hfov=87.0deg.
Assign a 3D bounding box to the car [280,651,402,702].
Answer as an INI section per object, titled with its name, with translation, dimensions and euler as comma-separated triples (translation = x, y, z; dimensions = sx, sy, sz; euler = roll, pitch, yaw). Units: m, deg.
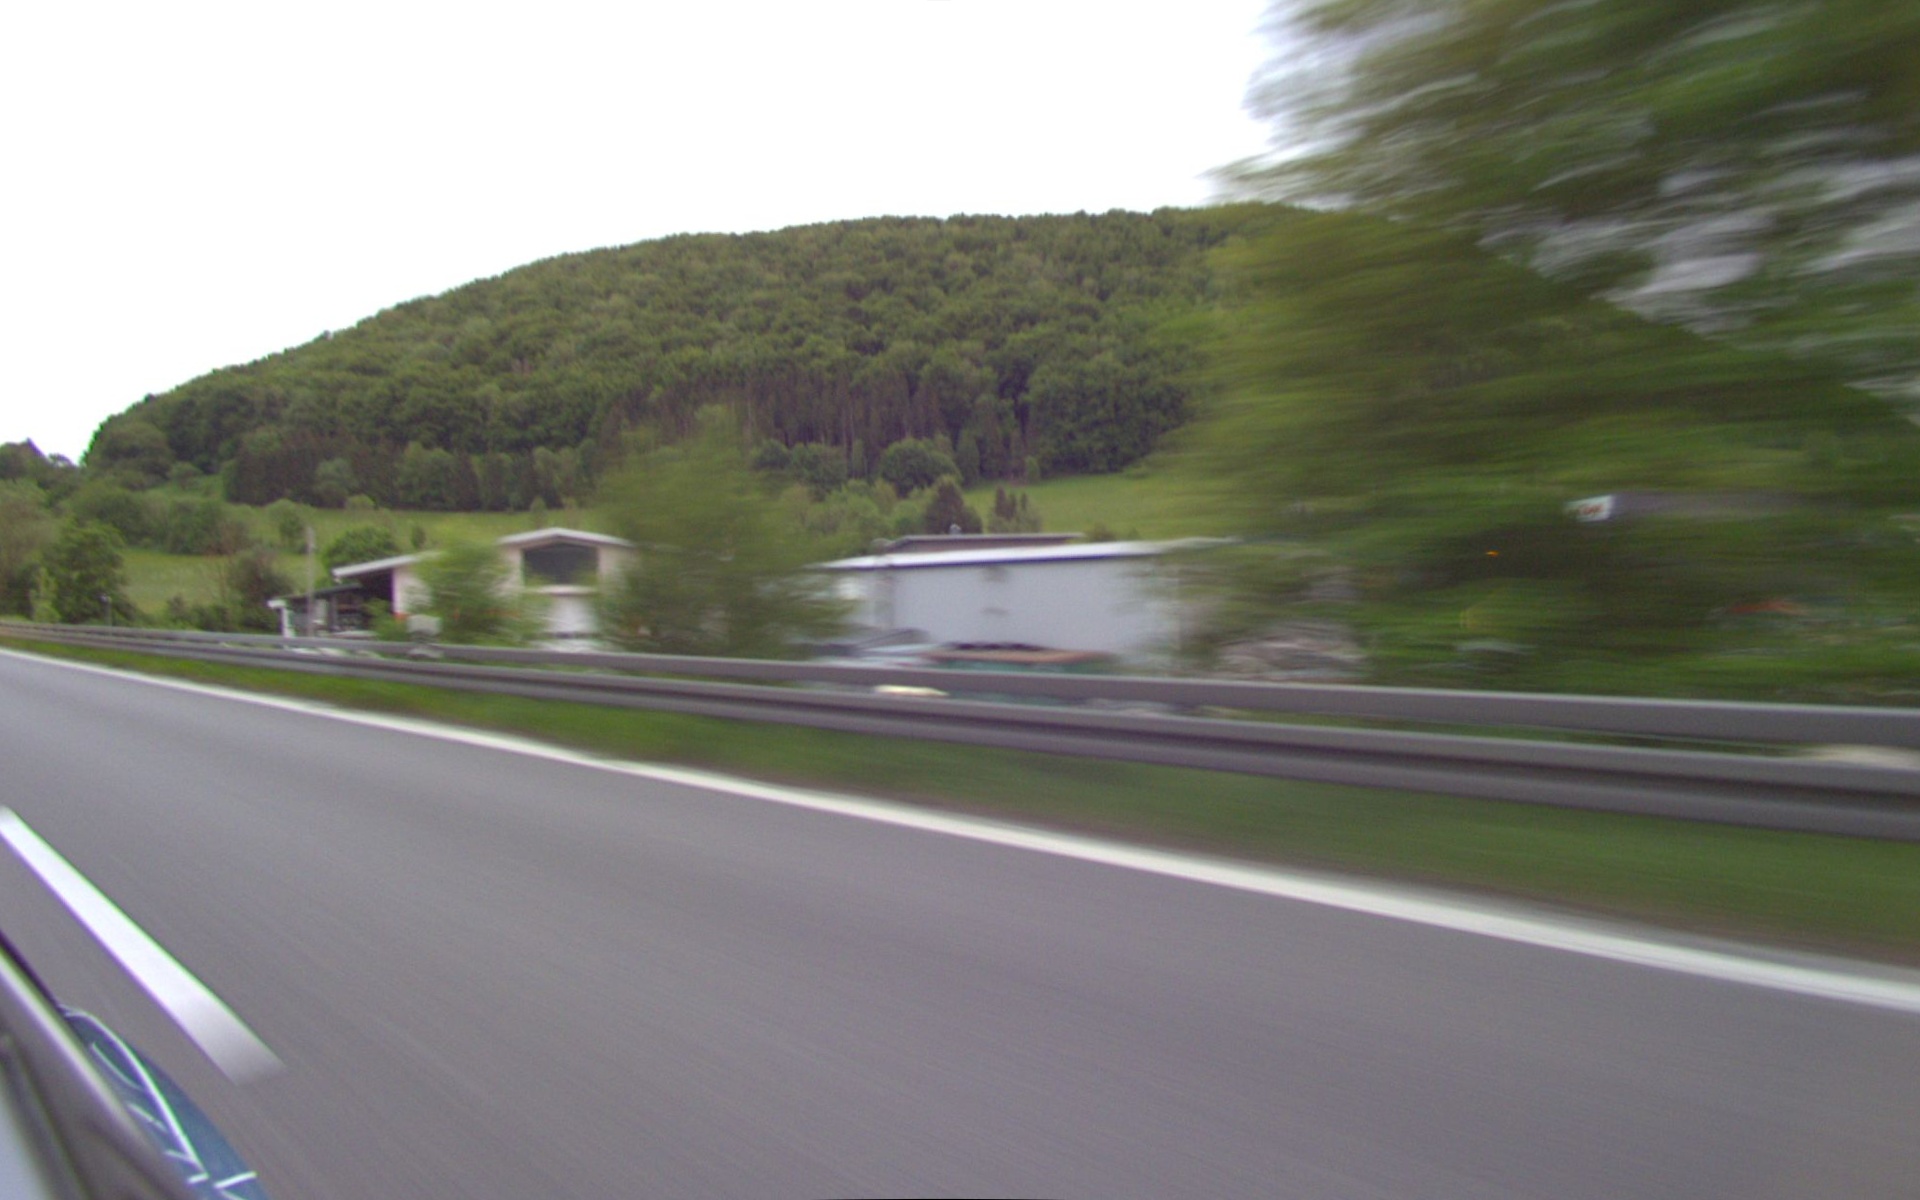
[car]
translation = -25.255, 3.085, 41.372
dimensions = 3.941, 1.706, 1.774
euler = -1, 1, -45
